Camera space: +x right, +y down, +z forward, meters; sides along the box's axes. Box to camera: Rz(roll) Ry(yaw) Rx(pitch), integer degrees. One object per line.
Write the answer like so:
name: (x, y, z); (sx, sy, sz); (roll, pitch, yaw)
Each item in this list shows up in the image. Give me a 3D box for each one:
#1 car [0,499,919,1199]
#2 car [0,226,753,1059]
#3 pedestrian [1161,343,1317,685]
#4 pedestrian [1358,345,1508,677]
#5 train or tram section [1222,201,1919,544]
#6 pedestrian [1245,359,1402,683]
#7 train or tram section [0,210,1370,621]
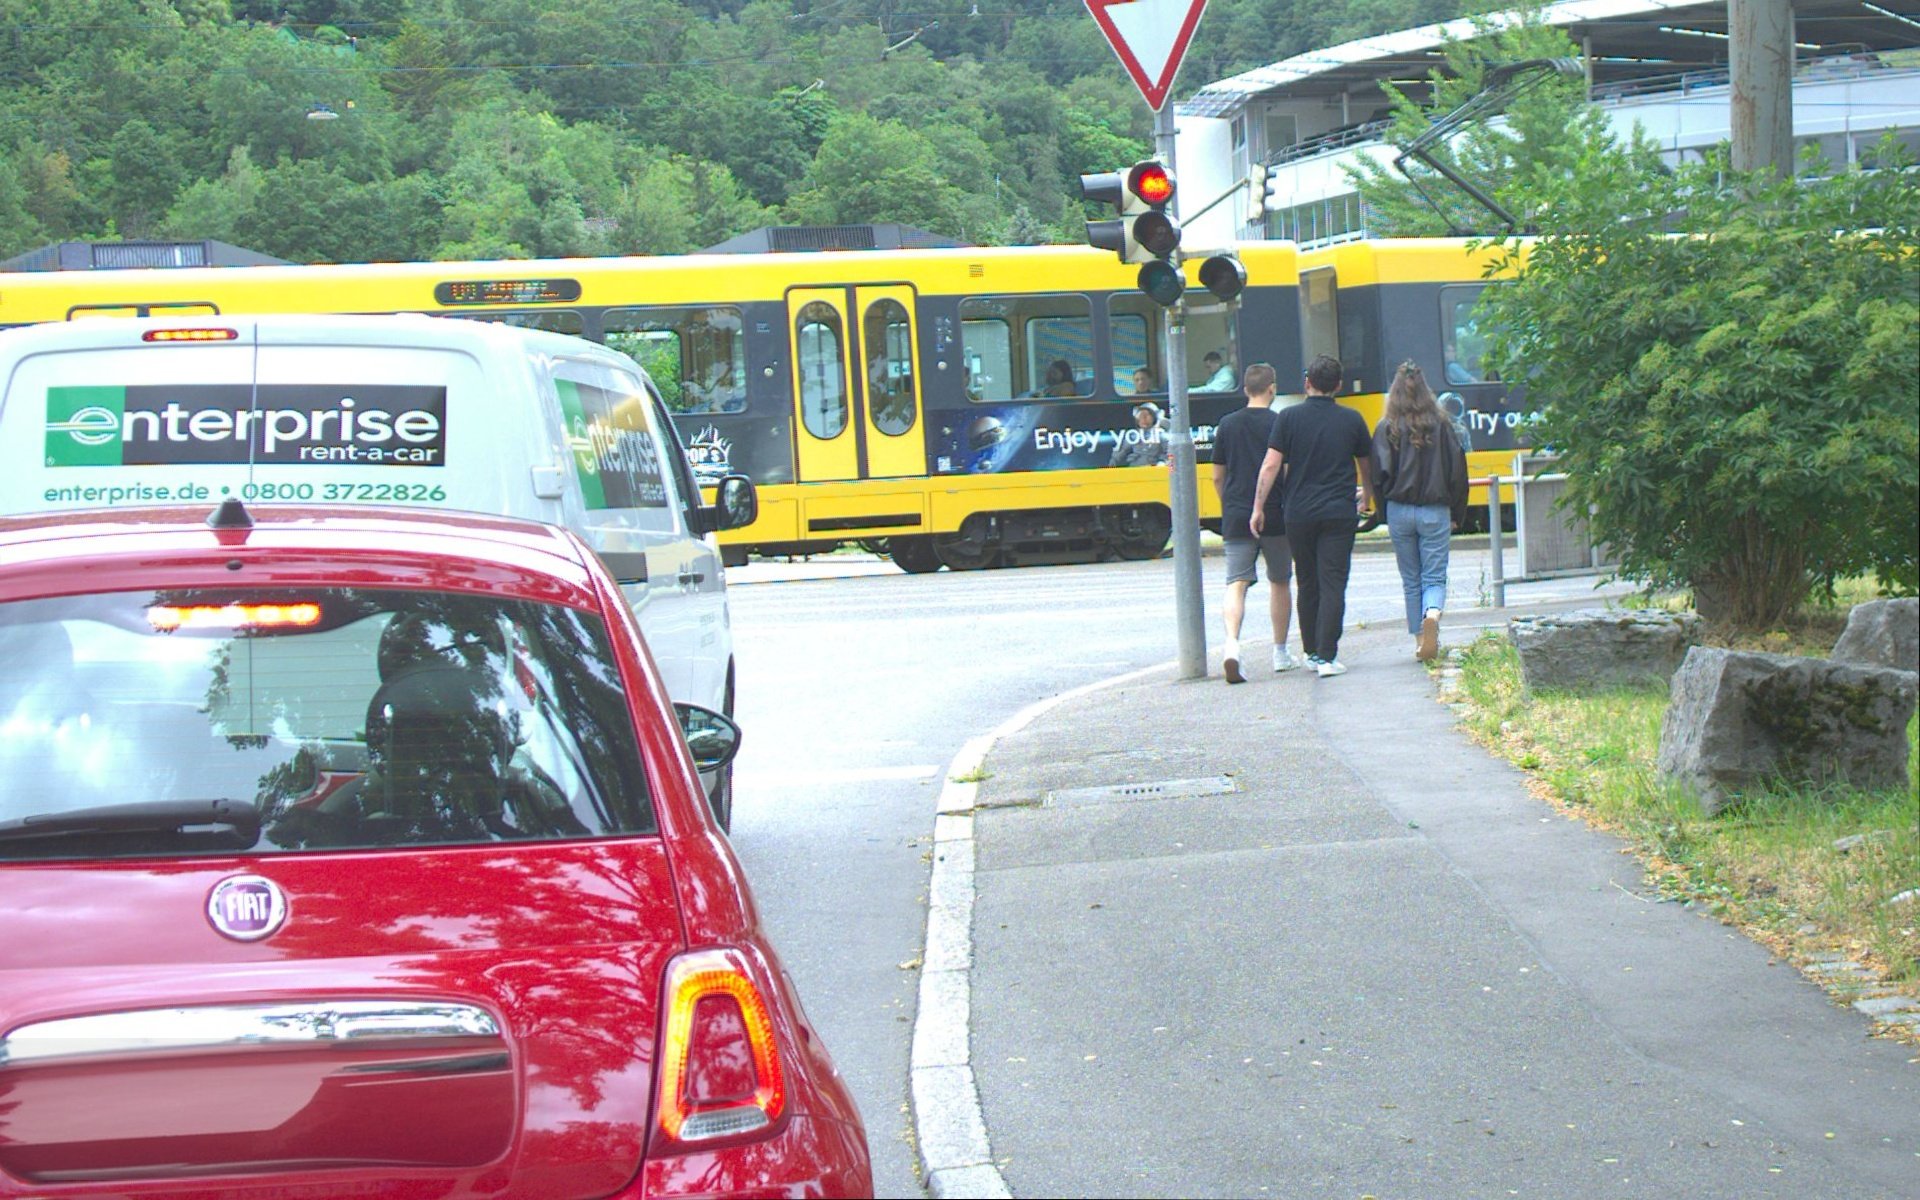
car: (-1.192, 0.590, 5.538); (1.638, 1.451, 3.432); (-2, 2, -11)
car: (-1.933, 0.031, 11.354); (1.989, 2.099, 4.762); (-3, 2, 2)
pedestrian: (1.576, -0.487, 19.328); (0.693, 1.850, 0.788); (-3, 2, 12)
pedestrian: (2.574, -0.485, 18.659); (0.693, 1.733, 0.788); (-3, 2, 10)
train or tram section: (12.600, -3.004, 42.663); (19.108, 3.653, 3.279); (-3, 2, -22)
pedestrian: (1.995, -0.437, 18.798); (0.693, 1.708, 0.788); (-2, 2, 12)
train or tram section: (-5.152, -1.928, 35.810); (19.107, 3.653, 3.279); (-3, 2, -19)
